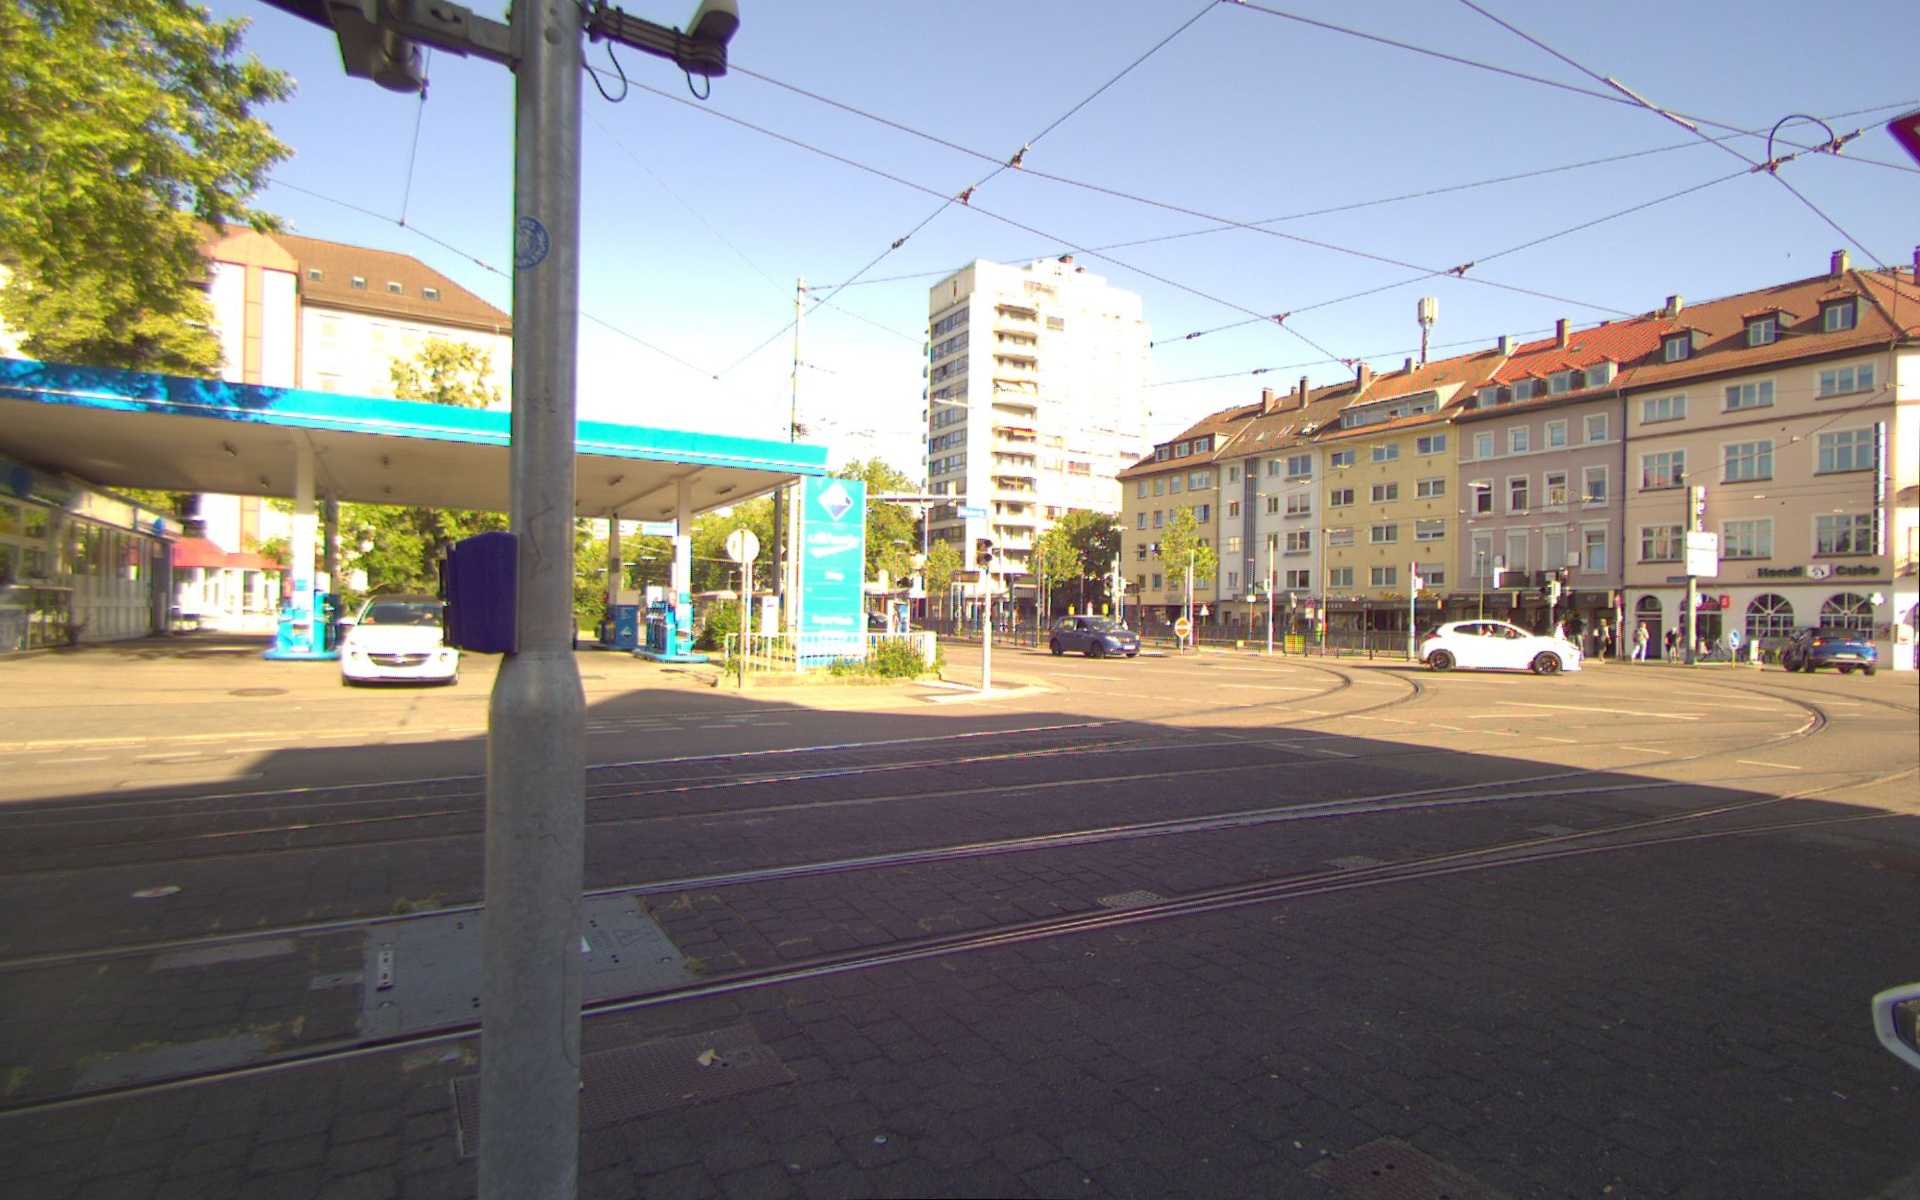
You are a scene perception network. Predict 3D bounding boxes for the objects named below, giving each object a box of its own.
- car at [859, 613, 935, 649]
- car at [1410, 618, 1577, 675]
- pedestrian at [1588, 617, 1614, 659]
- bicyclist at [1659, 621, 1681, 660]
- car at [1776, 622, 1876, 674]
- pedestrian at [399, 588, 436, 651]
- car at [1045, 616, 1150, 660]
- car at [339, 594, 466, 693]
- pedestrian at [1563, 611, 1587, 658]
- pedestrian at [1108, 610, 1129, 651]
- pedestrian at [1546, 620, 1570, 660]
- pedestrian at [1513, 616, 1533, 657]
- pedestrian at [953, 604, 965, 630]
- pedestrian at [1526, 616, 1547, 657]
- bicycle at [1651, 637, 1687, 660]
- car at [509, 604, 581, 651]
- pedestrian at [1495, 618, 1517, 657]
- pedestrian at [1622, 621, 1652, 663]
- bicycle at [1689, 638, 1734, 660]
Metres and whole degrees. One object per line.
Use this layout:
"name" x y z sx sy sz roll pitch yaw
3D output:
"car" -3.029 1.477 47.769 1.852 1.623 4.419 1 -2 -30
"car" 14.653 1.239 27.772 3.935 1.473 1.896 -1 -1 28
"pedestrian" 26.380 1.564 41.347 0.831 1.670 0.579 2 0 -30
"bicyclist" 33.894 1.921 47.957 0.606 1.814 0.619 2 0 -25
"car" 29.533 1.583 34.388 1.798 1.596 4.191 1 -1 30
"pedestrian" -15.007 0.552 27.779 0.838 1.724 0.644 2 -3 -31
"car" 4.966 1.373 36.847 1.770 1.523 3.886 0 -1 -32
"car" -9.788 0.696 17.702 1.723 1.455 3.905 2 1 -29
"pedestrian" 24.821 1.391 40.553 0.669 1.847 0.524 2 0 -30
"pedestrian" 6.462 1.222 40.894 0.750 1.631 0.613 2 0 15
"pedestrian" 25.340 1.696 42.570 0.719 1.670 0.570 2 0 -30
"pedestrian" 23.491 1.510 41.905 0.492 1.670 0.520 2 0 -30
"pedestrian" -0.062 1.389 84.141 0.729 2.127 0.880 2 0 -21
"pedestrian" 23.767 1.516 41.408 0.492 1.670 0.520 2 0 -30
"bicycle" 33.853 2.320 47.948 1.731 1.044 0.619 2 0 -25
"car" -13.530 0.861 32.640 1.659 1.372 3.559 2 0 -31
"pedestrian" 24.004 1.659 44.145 0.609 1.670 0.581 2 0 -30
"pedestrian" 26.942 1.679 39.973 0.805 1.615 0.665 2 0 -30
"bicycle" 37.825 2.467 50.583 0.603 0.996 1.693 2 0 -29
